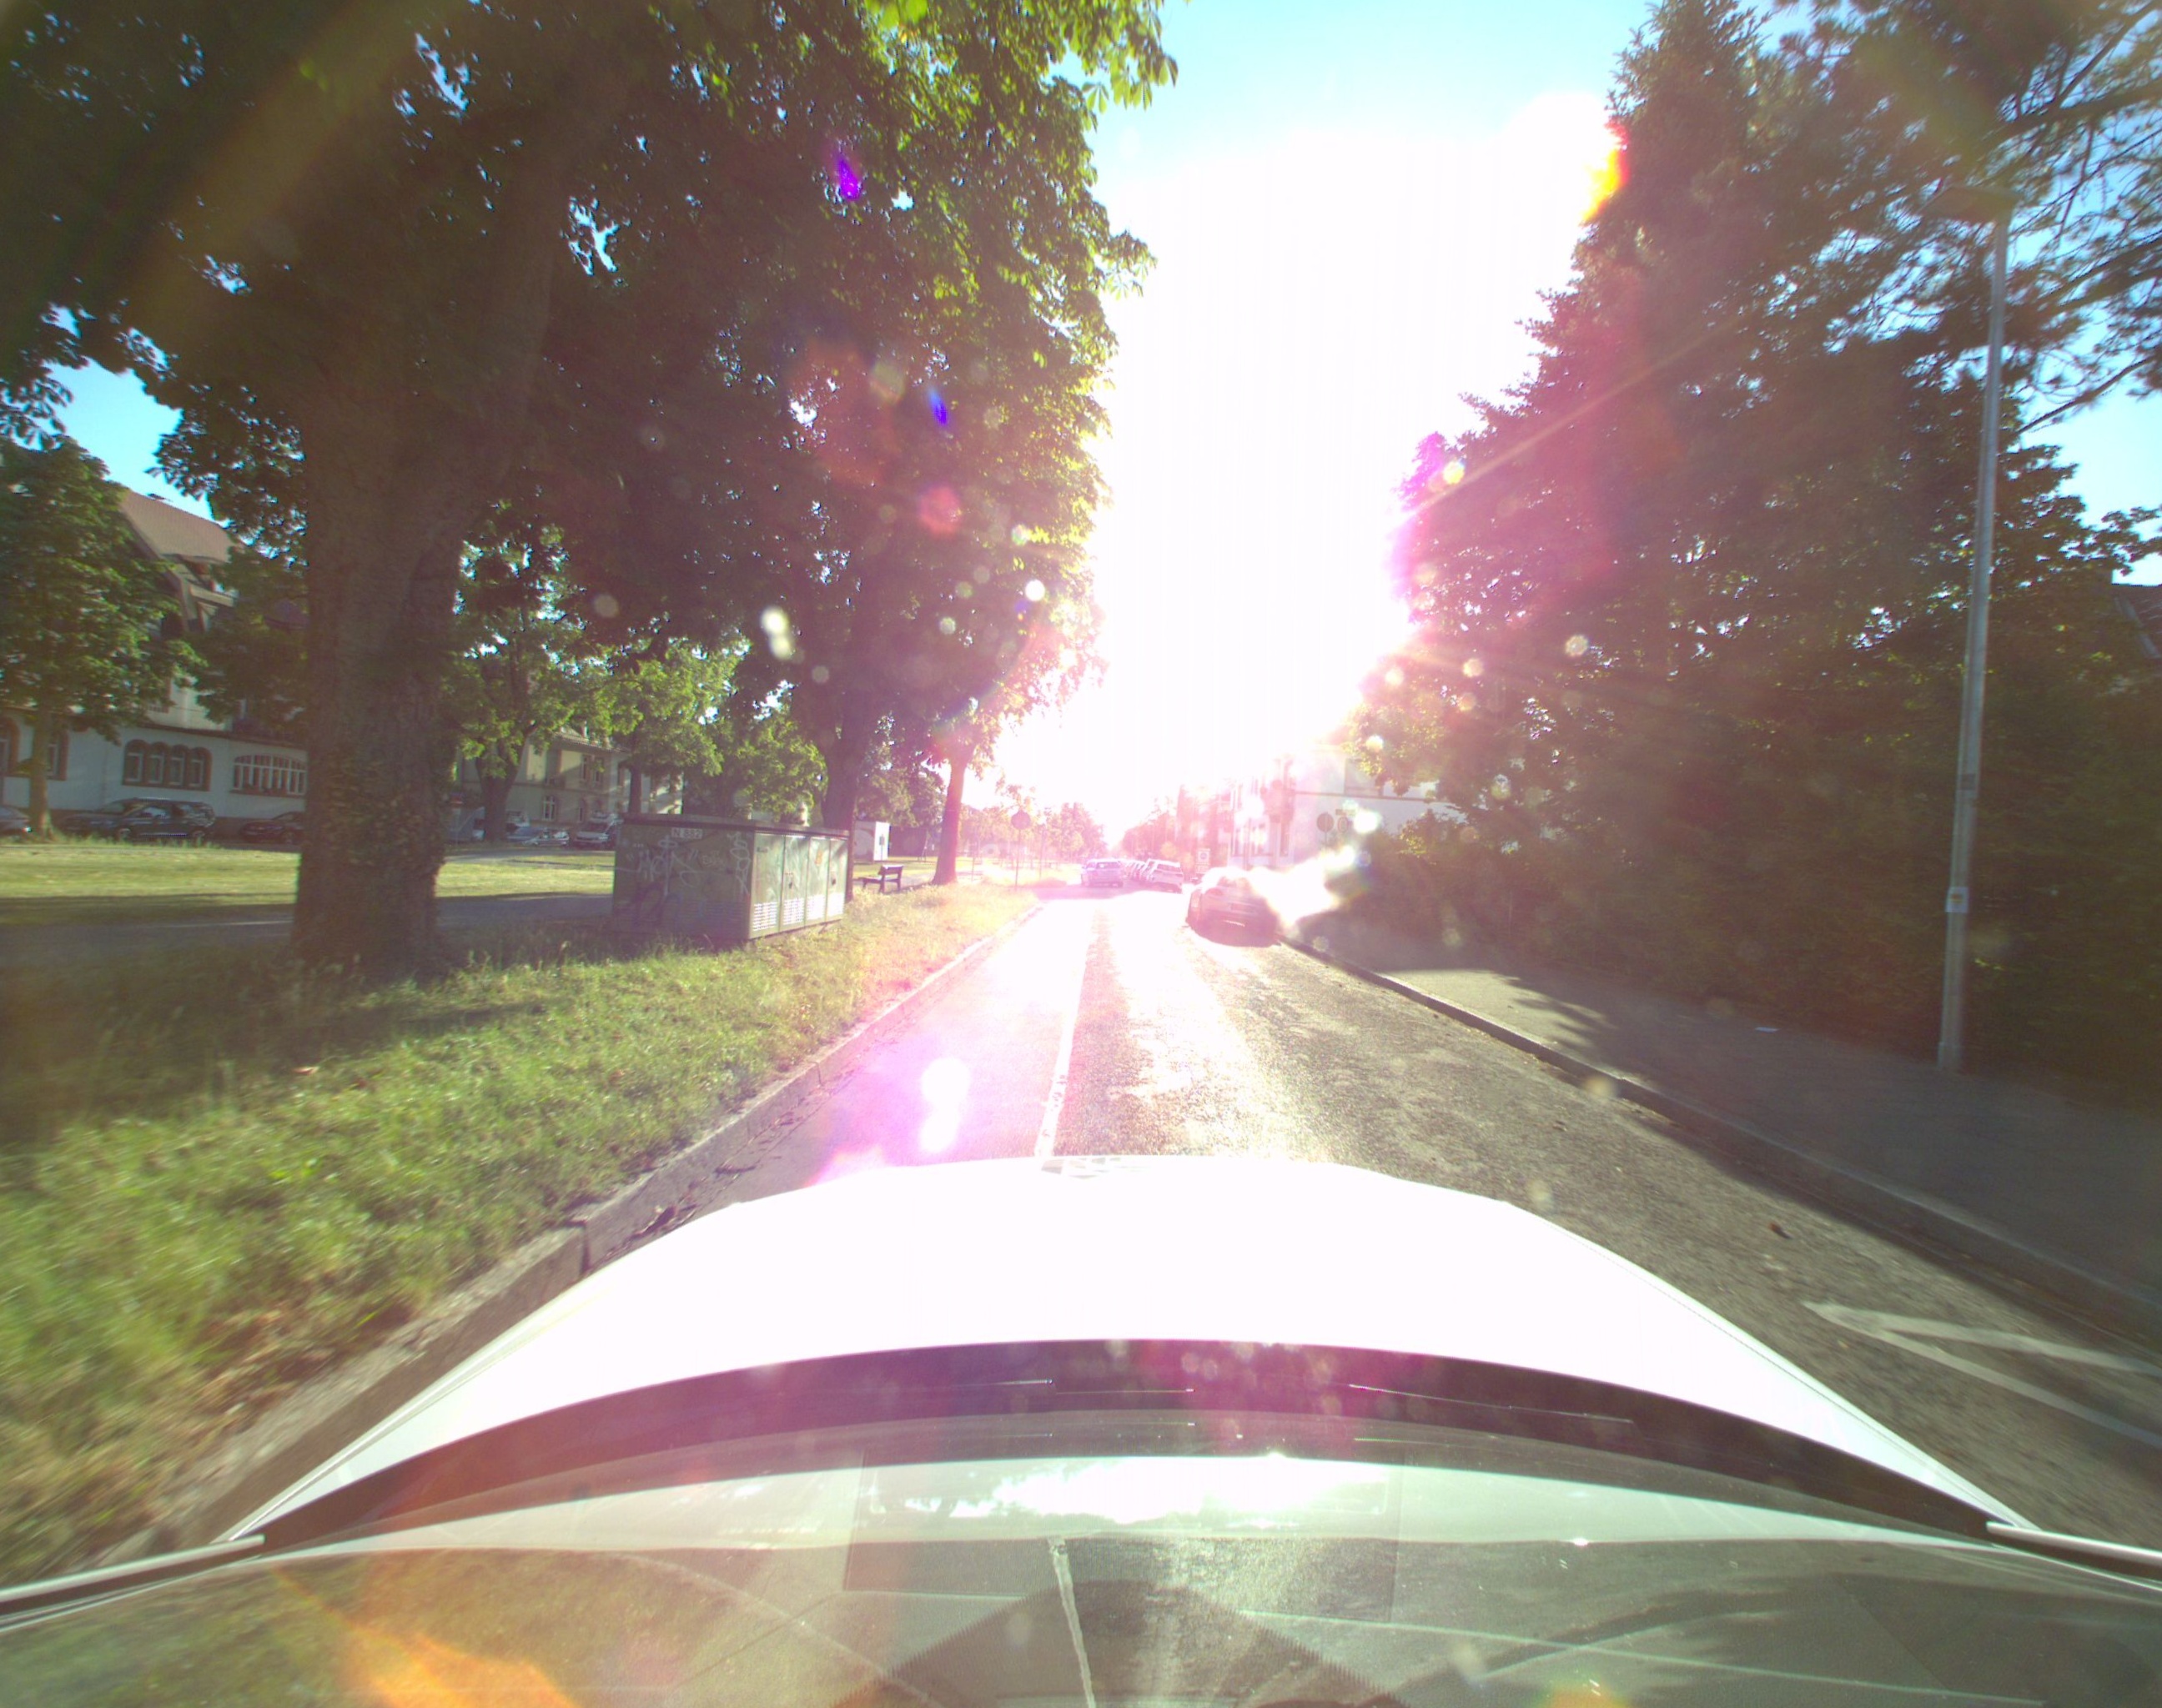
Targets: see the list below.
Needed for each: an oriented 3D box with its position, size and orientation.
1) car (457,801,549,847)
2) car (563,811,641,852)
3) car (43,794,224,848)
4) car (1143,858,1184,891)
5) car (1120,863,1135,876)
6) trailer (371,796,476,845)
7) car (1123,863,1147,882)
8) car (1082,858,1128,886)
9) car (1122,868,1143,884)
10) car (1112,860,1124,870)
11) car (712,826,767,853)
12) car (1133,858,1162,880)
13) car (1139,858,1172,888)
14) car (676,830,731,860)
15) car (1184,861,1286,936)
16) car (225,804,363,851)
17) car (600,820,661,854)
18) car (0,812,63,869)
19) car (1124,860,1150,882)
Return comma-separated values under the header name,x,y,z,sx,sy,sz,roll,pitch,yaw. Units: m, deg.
name,x,y,z,sx,sy,sz,roll,pitch,yaw
car,-37.998,-1.890,53.728,1.986,2.673,5.189,3,-1,2
car,-37.668,-1.697,64.291,2.429,2.922,5.819,1,-1,2
car,-38.534,-1.274,33.337,1.988,1.876,4.493,3,-1,-1
car,4.375,1.066,43.679,1.753,1.605,4.358,3,-1,0
car,6.283,2.064,110.831,1.985,1.629,4.002,3,-1,3
trailer,-38.176,-1.890,47.494,1.986,2.428,4.726,3,-1,2
car,4.891,1.690,74.141,1.755,1.521,3.999,5,-1,0
car,1.197,0.936,42.990,1.760,1.420,3.988,0,-1,-9
car,5.340,2.278,84.710,1.985,1.464,4.002,3,-1,3
car,6.617,1.924,145.472,1.972,1.683,4.002,3,-1,3
car,-31.789,-1.319,76.045,2.525,2.236,5.461,3,0,2
car,4.729,1.051,58.554,1.755,1.420,4.000,3,0,0
car,4.486,1.114,49.504,1.679,1.651,4.101,3,0,1
car,-31.807,-0.720,68.861,1.986,2.250,5.188,3,-1,2
car,3.726,1.042,20.384,1.750,1.420,4.073,10,-1,2
car,-38.700,-1.247,40.261,1.987,1.953,4.750,3,-1,0
car,-32.020,-1.138,58.032,1.678,2.176,4.316,3,-1,2
car,-33.210,-0.482,23.520,1.985,1.649,4.258,4,-1,3
car,4.370,1.332,63.923,1.753,1.605,4.358,3,-1,0
